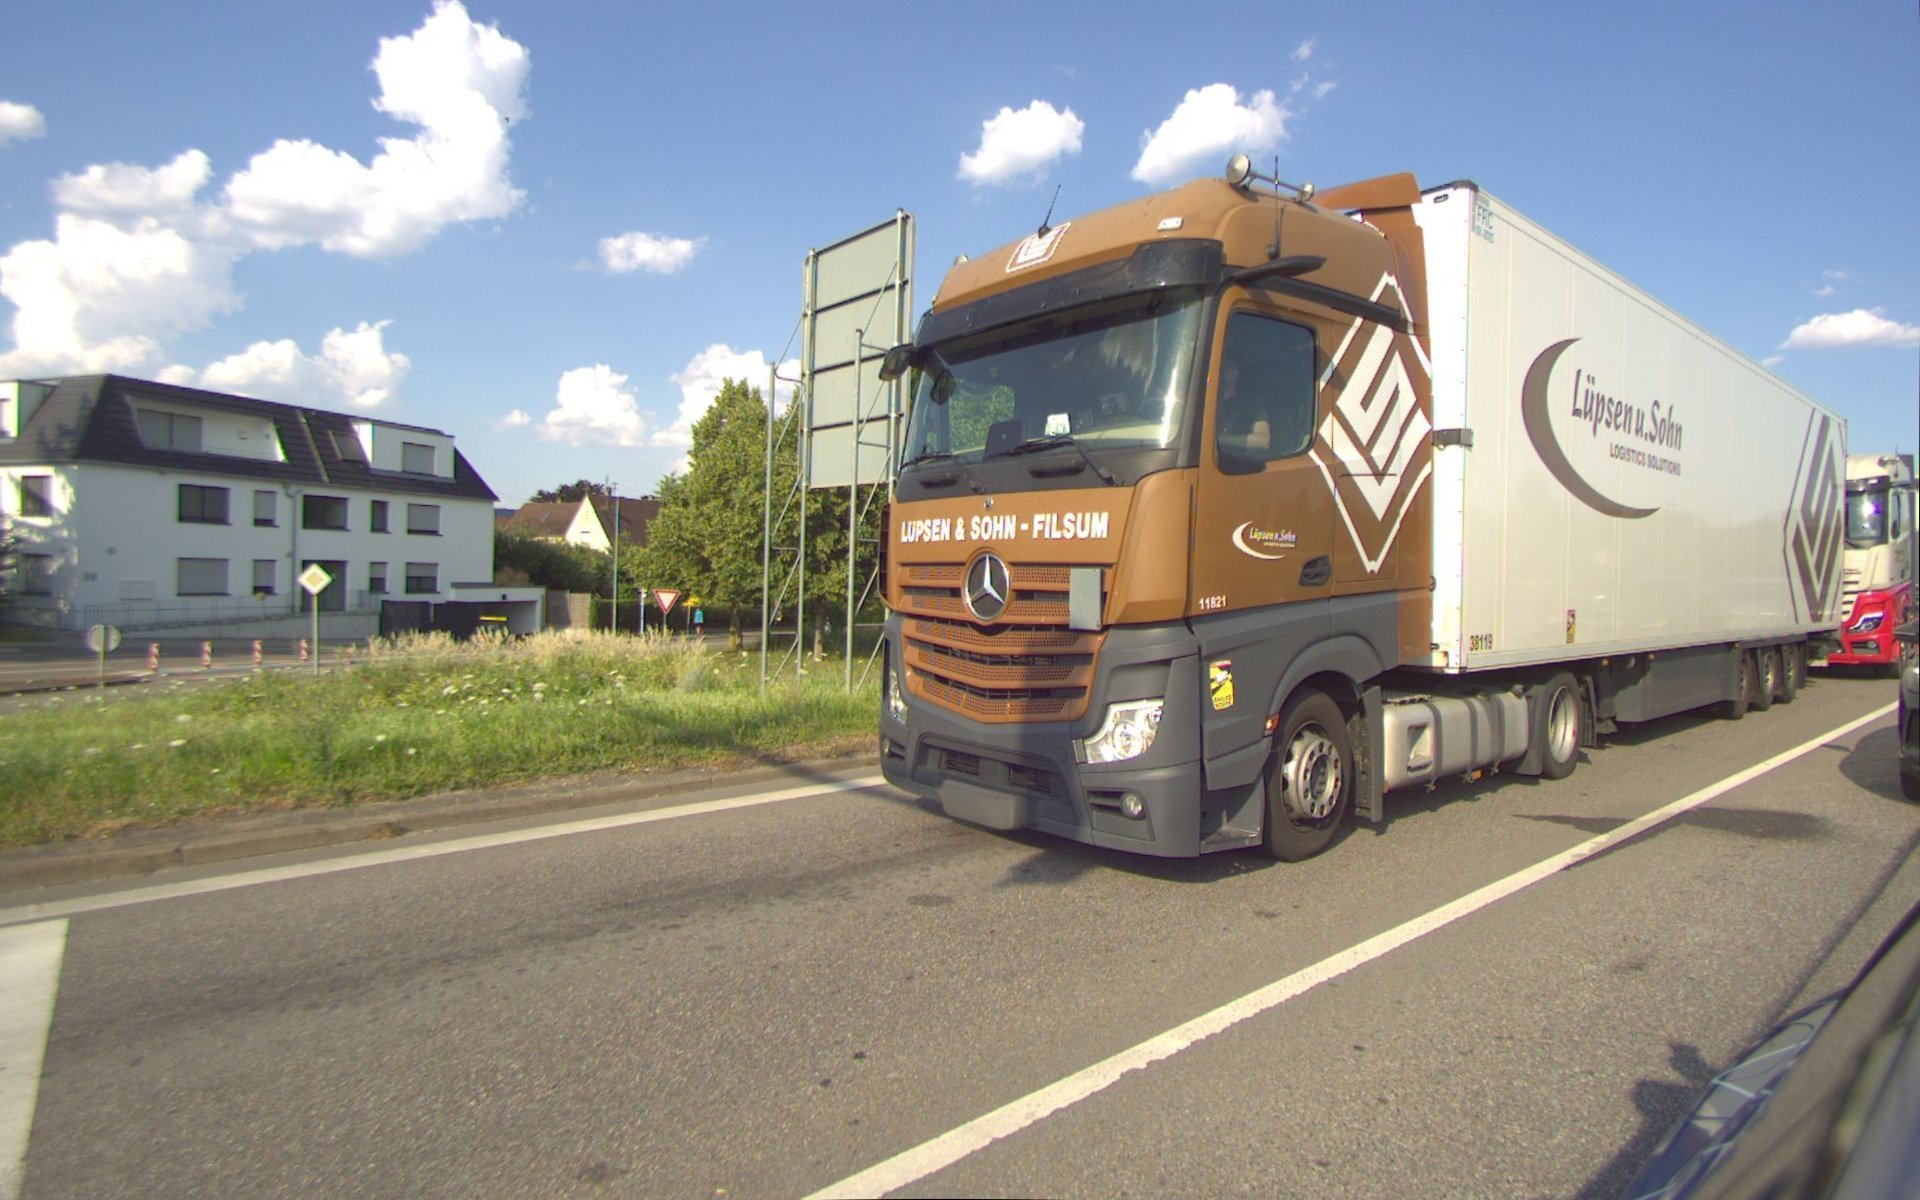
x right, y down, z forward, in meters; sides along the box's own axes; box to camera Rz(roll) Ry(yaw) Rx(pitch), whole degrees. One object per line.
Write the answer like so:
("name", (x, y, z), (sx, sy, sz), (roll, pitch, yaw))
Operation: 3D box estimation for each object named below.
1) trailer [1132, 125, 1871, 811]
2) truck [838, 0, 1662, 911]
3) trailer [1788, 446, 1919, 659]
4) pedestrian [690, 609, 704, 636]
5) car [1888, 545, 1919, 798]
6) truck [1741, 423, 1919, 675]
("trailer", (7.532, -0.875, 11.624), (14.083, 4.118, 2.536), (-1, 0, -40))
("truck", (2.575, -0.790, 7.393), (6.544, 4.094, 2.537), (-1, 1, -40))
("trailer", (20.328, -0.925, 21.770), (9.359, 3.825, 2.262), (-1, 0, -41))
("pedestrian", (-17.002, 1.445, 65.401), (0.610, 1.750, 0.635), (-1, 0, 20))
("car", (8.416, 0.427, 7.333), (4.387, 1.649, 1.788), (-1, 1, -38))
("truck", (16.054, -0.833, 18.074), (5.587, 3.853, 2.259), (-1, 1, -41))
